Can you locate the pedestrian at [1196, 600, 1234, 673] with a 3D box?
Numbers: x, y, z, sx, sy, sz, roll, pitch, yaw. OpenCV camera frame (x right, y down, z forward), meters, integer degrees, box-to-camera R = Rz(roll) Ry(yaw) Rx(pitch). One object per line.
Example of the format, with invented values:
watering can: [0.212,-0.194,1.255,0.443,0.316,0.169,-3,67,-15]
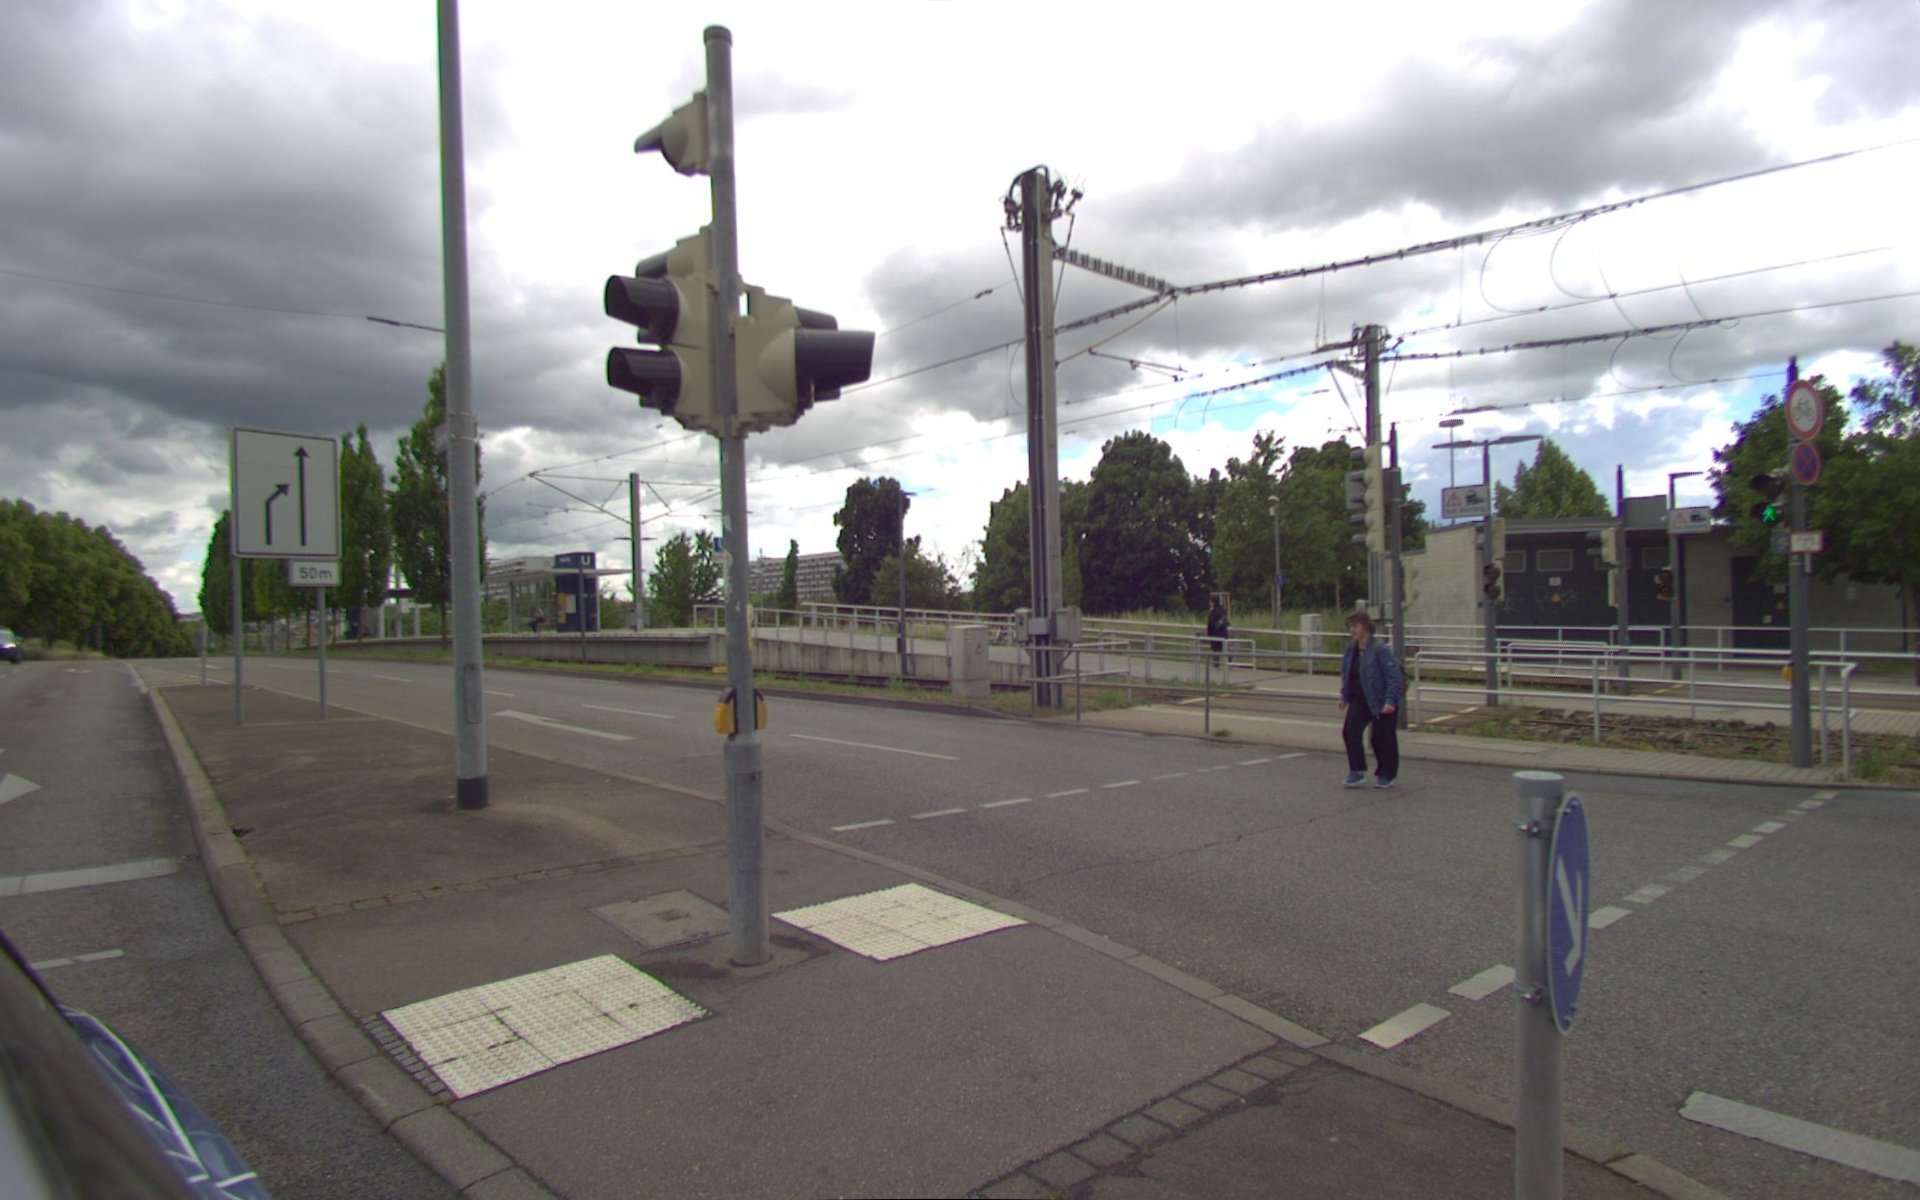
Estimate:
pedestrian: [5.658,0.794,22.462,0.555,1.584,0.546,1,1,-41]

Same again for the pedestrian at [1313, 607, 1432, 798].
pedestrian: [3.525,0.832,8.666,0.704,1.542,0.672,1,-1,-36]

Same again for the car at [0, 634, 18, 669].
car: [-41.538,2.222,43.095,1.786,1.351,4.229,1,-5,-39]

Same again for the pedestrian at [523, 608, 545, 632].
pedestrian: [-20.769,0.973,49.314,0.740,1.184,0.839,1,-1,-42]

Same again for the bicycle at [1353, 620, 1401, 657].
bicycle: [13.632,1.240,33.126,0.669,1.114,2.255,0,0,1]
